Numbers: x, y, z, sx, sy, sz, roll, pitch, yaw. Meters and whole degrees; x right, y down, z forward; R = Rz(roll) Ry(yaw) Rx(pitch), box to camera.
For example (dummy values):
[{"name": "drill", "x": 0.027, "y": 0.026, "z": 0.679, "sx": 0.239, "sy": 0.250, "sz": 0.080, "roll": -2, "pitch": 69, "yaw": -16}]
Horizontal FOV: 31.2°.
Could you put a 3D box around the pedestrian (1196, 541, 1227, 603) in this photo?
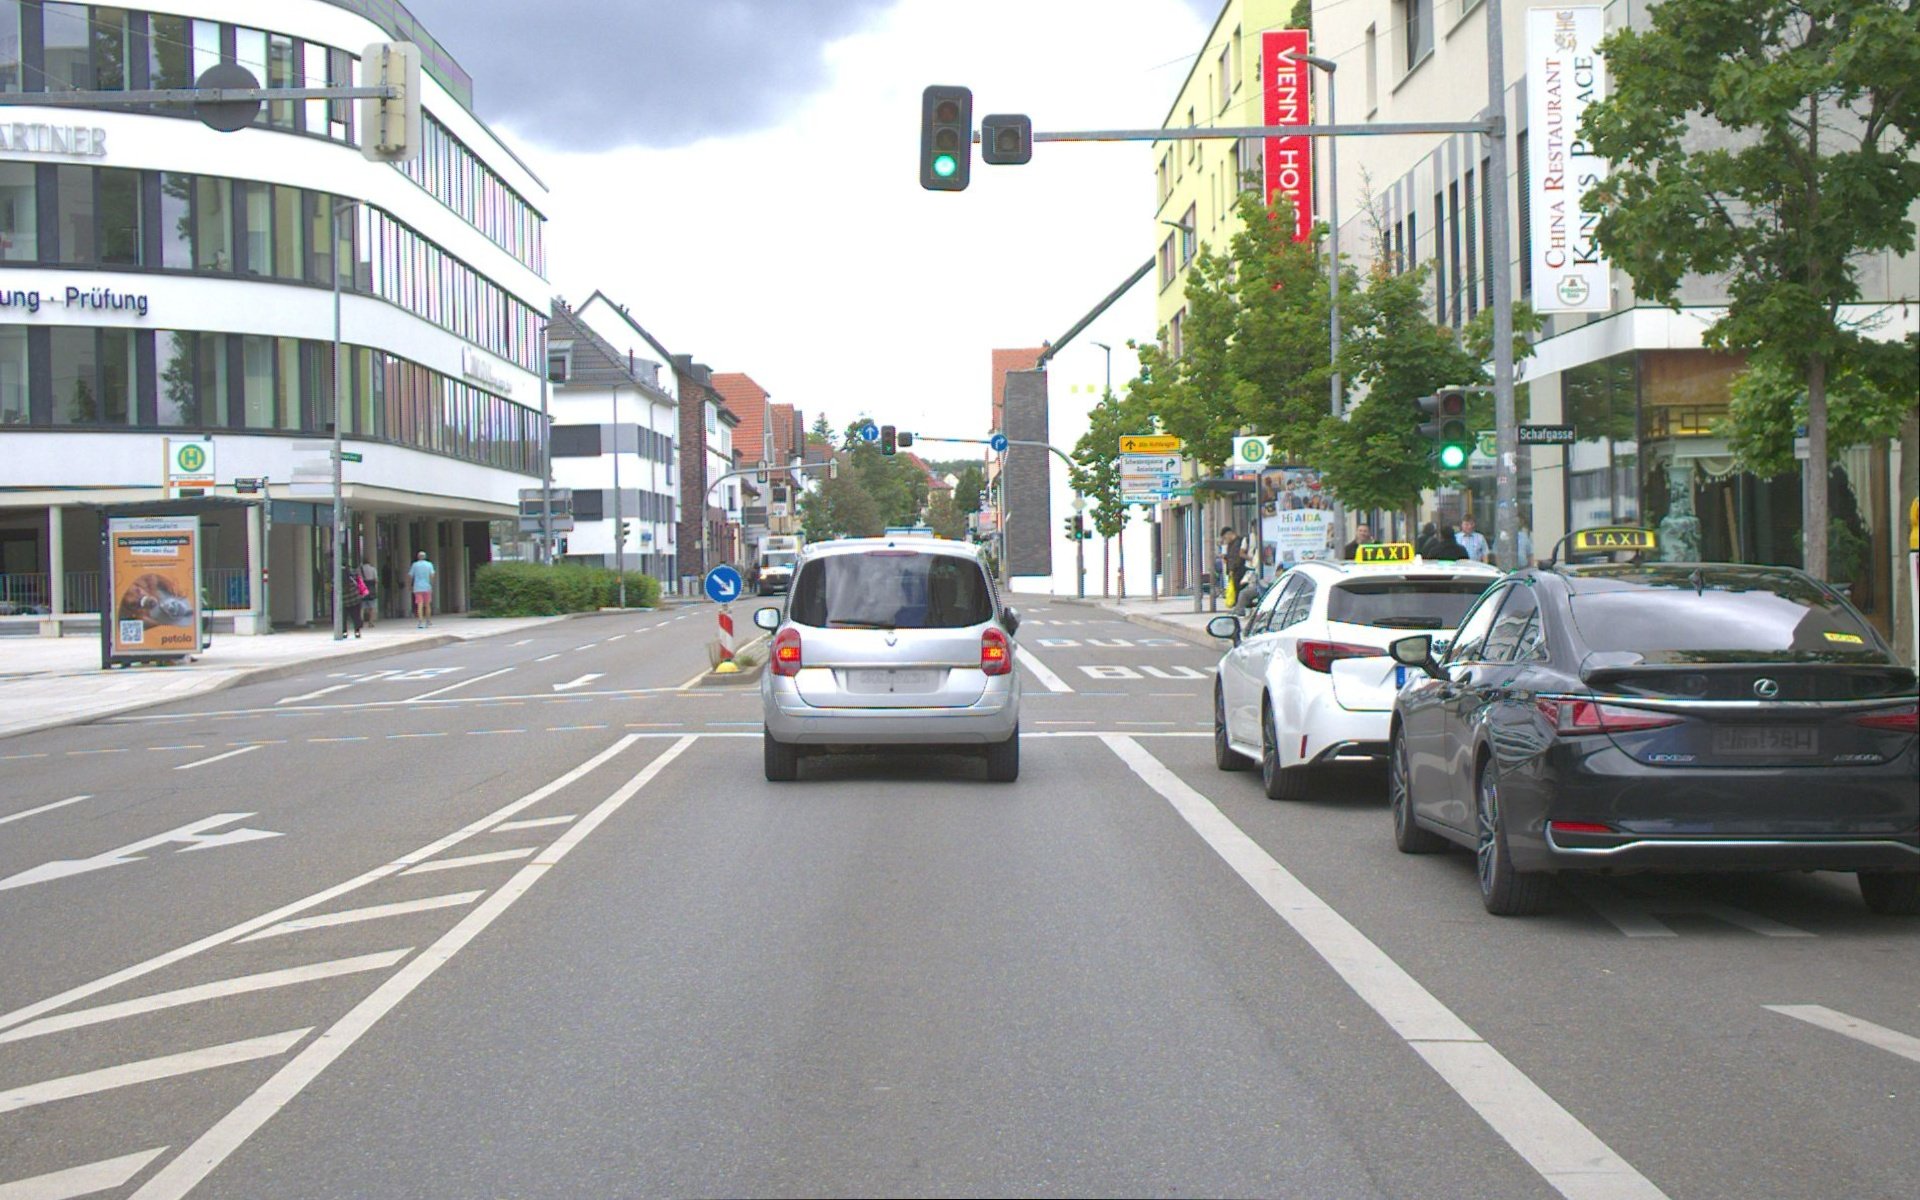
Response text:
[{"name": "pedestrian", "x": 6.556, "y": -0.726, "z": 89.724, "sx": 0.695, "sy": 1.588, "sz": 0.603, "roll": -2, "pitch": 0, "yaw": -1}]

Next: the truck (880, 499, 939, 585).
[{"name": "truck", "x": -2.285, "y": -2.639, "z": 156.618, "sx": 2.595, "sy": 3.844, "sz": 6.849, "roll": 0, "pitch": 1, "yaw": 0}]

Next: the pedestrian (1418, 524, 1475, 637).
[{"name": "pedestrian", "x": 7.239, "y": -0.297, "z": 51.186, "sx": 0.744, "sy": 1.663, "sz": 0.614, "roll": -1, "pitch": 1, "yaw": 0}]

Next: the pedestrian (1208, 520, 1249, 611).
[{"name": "pedestrian", "x": 5.017, "y": -0.644, "z": 64.269, "sx": 0.721, "sy": 1.678, "sz": 0.732, "roll": -2, "pitch": 0, "yaw": 5}]

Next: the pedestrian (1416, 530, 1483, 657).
[{"name": "pedestrian", "x": 6.260, "y": -0.086, "z": 43.984, "sx": 0.740, "sy": 1.603, "sz": 0.715, "roll": -1, "pitch": 1, "yaw": 0}]

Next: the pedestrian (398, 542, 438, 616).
[{"name": "pedestrian", "x": -12.312, "y": -0.482, "z": 78.127, "sx": 0.730, "sy": 1.668, "sz": 0.931, "roll": 1, "pitch": 0, "yaw": 1}]

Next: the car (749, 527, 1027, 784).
[{"name": "car", "x": -0.479, "y": 0.328, "z": 23.485, "sx": 1.706, "sy": 1.573, "sz": 4.000, "roll": 1, "pitch": 1, "yaw": -1}]

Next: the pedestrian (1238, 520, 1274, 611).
[{"name": "pedestrian", "x": 5.209, "y": -0.606, "z": 60.554, "sx": 0.579, "sy": 1.585, "sz": 0.732, "roll": -2, "pitch": 0, "yaw": 5}]

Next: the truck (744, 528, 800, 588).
[{"name": "truck", "x": -9.484, "y": -2.128, "z": 174.056, "sx": 2.435, "sy": 2.943, "sz": 8.365, "roll": 1, "pitch": 1, "yaw": -1}]

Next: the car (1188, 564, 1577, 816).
[{"name": "car", "x": 2.550, "y": 0.490, "z": 21.785, "sx": 1.782, "sy": 1.420, "sz": 4.515, "roll": 0, "pitch": 1, "yaw": -2}]

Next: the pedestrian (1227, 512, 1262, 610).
[{"name": "pedestrian", "x": 5.199, "y": -0.717, "z": 62.899, "sx": 0.579, "sy": 1.763, "sz": 0.856, "roll": -2, "pitch": 0, "yaw": 5}]

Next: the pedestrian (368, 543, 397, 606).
[{"name": "pedestrian", "x": -15.954, "y": -0.700, "z": 94.972, "sx": 0.505, "sy": 1.724, "sz": 0.614, "roll": -1, "pitch": 0, "yaw": 31}]

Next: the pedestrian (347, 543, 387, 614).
[{"name": "pedestrian", "x": -13.676, "y": -0.500, "z": 79.340, "sx": 0.730, "sy": 1.608, "sz": 0.931, "roll": 1, "pitch": 0, "yaw": 1}]

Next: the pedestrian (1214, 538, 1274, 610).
[{"name": "pedestrian", "x": 5.114, "y": -0.465, "z": 61.930, "sx": 0.942, "sy": 1.255, "sz": 0.733, "roll": -2, "pitch": 0, "yaw": -3}]

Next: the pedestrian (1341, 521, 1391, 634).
[{"name": "pedestrian", "x": 6.013, "y": -0.334, "z": 50.960, "sx": 0.655, "sy": 1.663, "sz": 0.614, "roll": -1, "pitch": 1, "yaw": 0}]

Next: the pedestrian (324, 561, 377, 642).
[{"name": "pedestrian", "x": -11.953, "y": 0.028, "z": 67.402, "sx": 0.830, "sy": 1.562, "sz": 0.813, "roll": 1, "pitch": 0, "yaw": 5}]

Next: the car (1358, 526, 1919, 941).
[{"name": "car", "x": 2.972, "y": 0.483, "z": 15.349, "sx": 1.736, "sy": 1.536, "sz": 4.790, "roll": 1, "pitch": 1, "yaw": -1}]
